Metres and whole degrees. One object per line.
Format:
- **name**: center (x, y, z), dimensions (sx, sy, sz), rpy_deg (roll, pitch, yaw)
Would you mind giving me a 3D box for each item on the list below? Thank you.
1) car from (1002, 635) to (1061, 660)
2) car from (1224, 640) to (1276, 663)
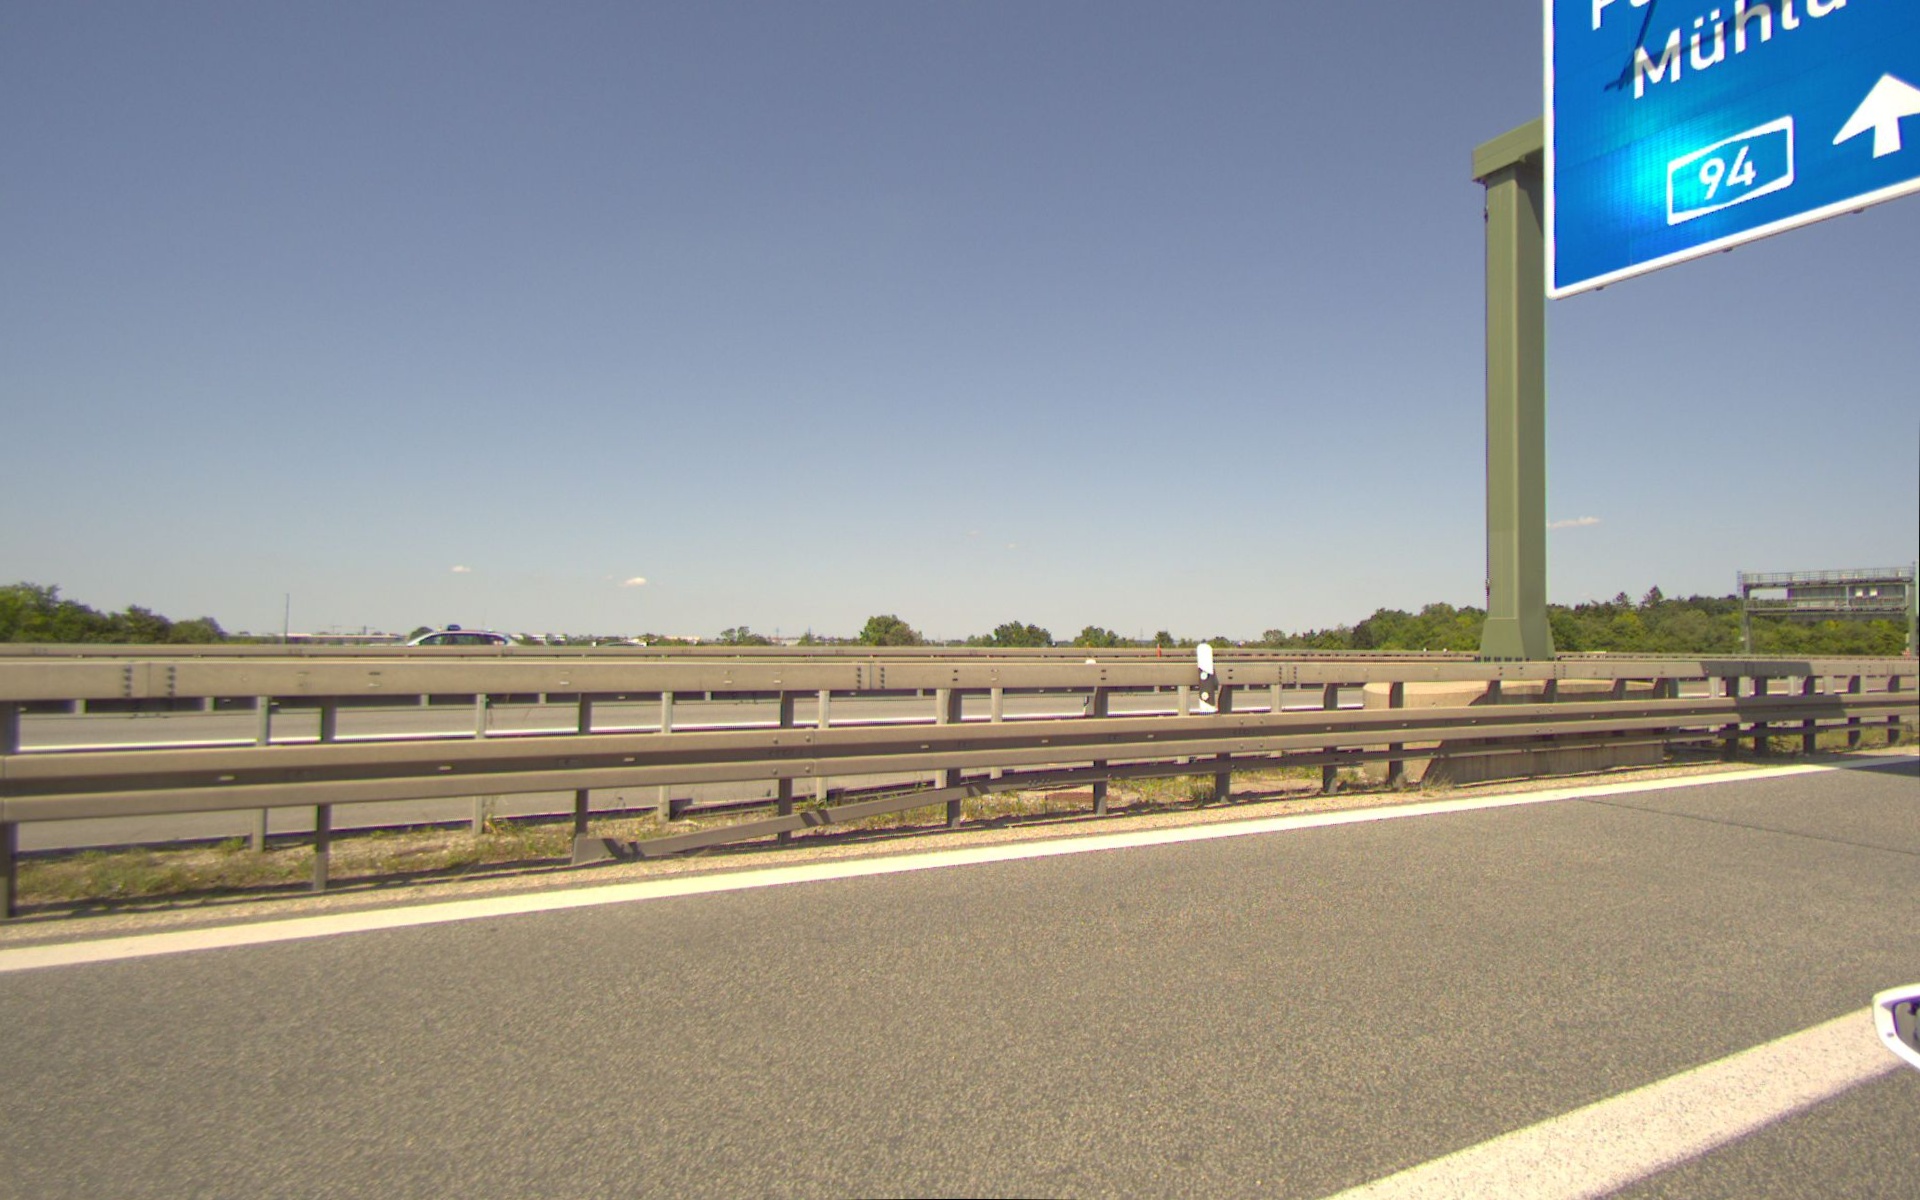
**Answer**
- **car**: center (4.455, 2.959, 62.165), dimensions (3.304, 1.371, 1.571), rpy_deg (4, -4, -29)
- **car**: center (20.005, 3.540, 69.180), dimensions (3.304, 1.371, 1.571), rpy_deg (4, -4, -29)
